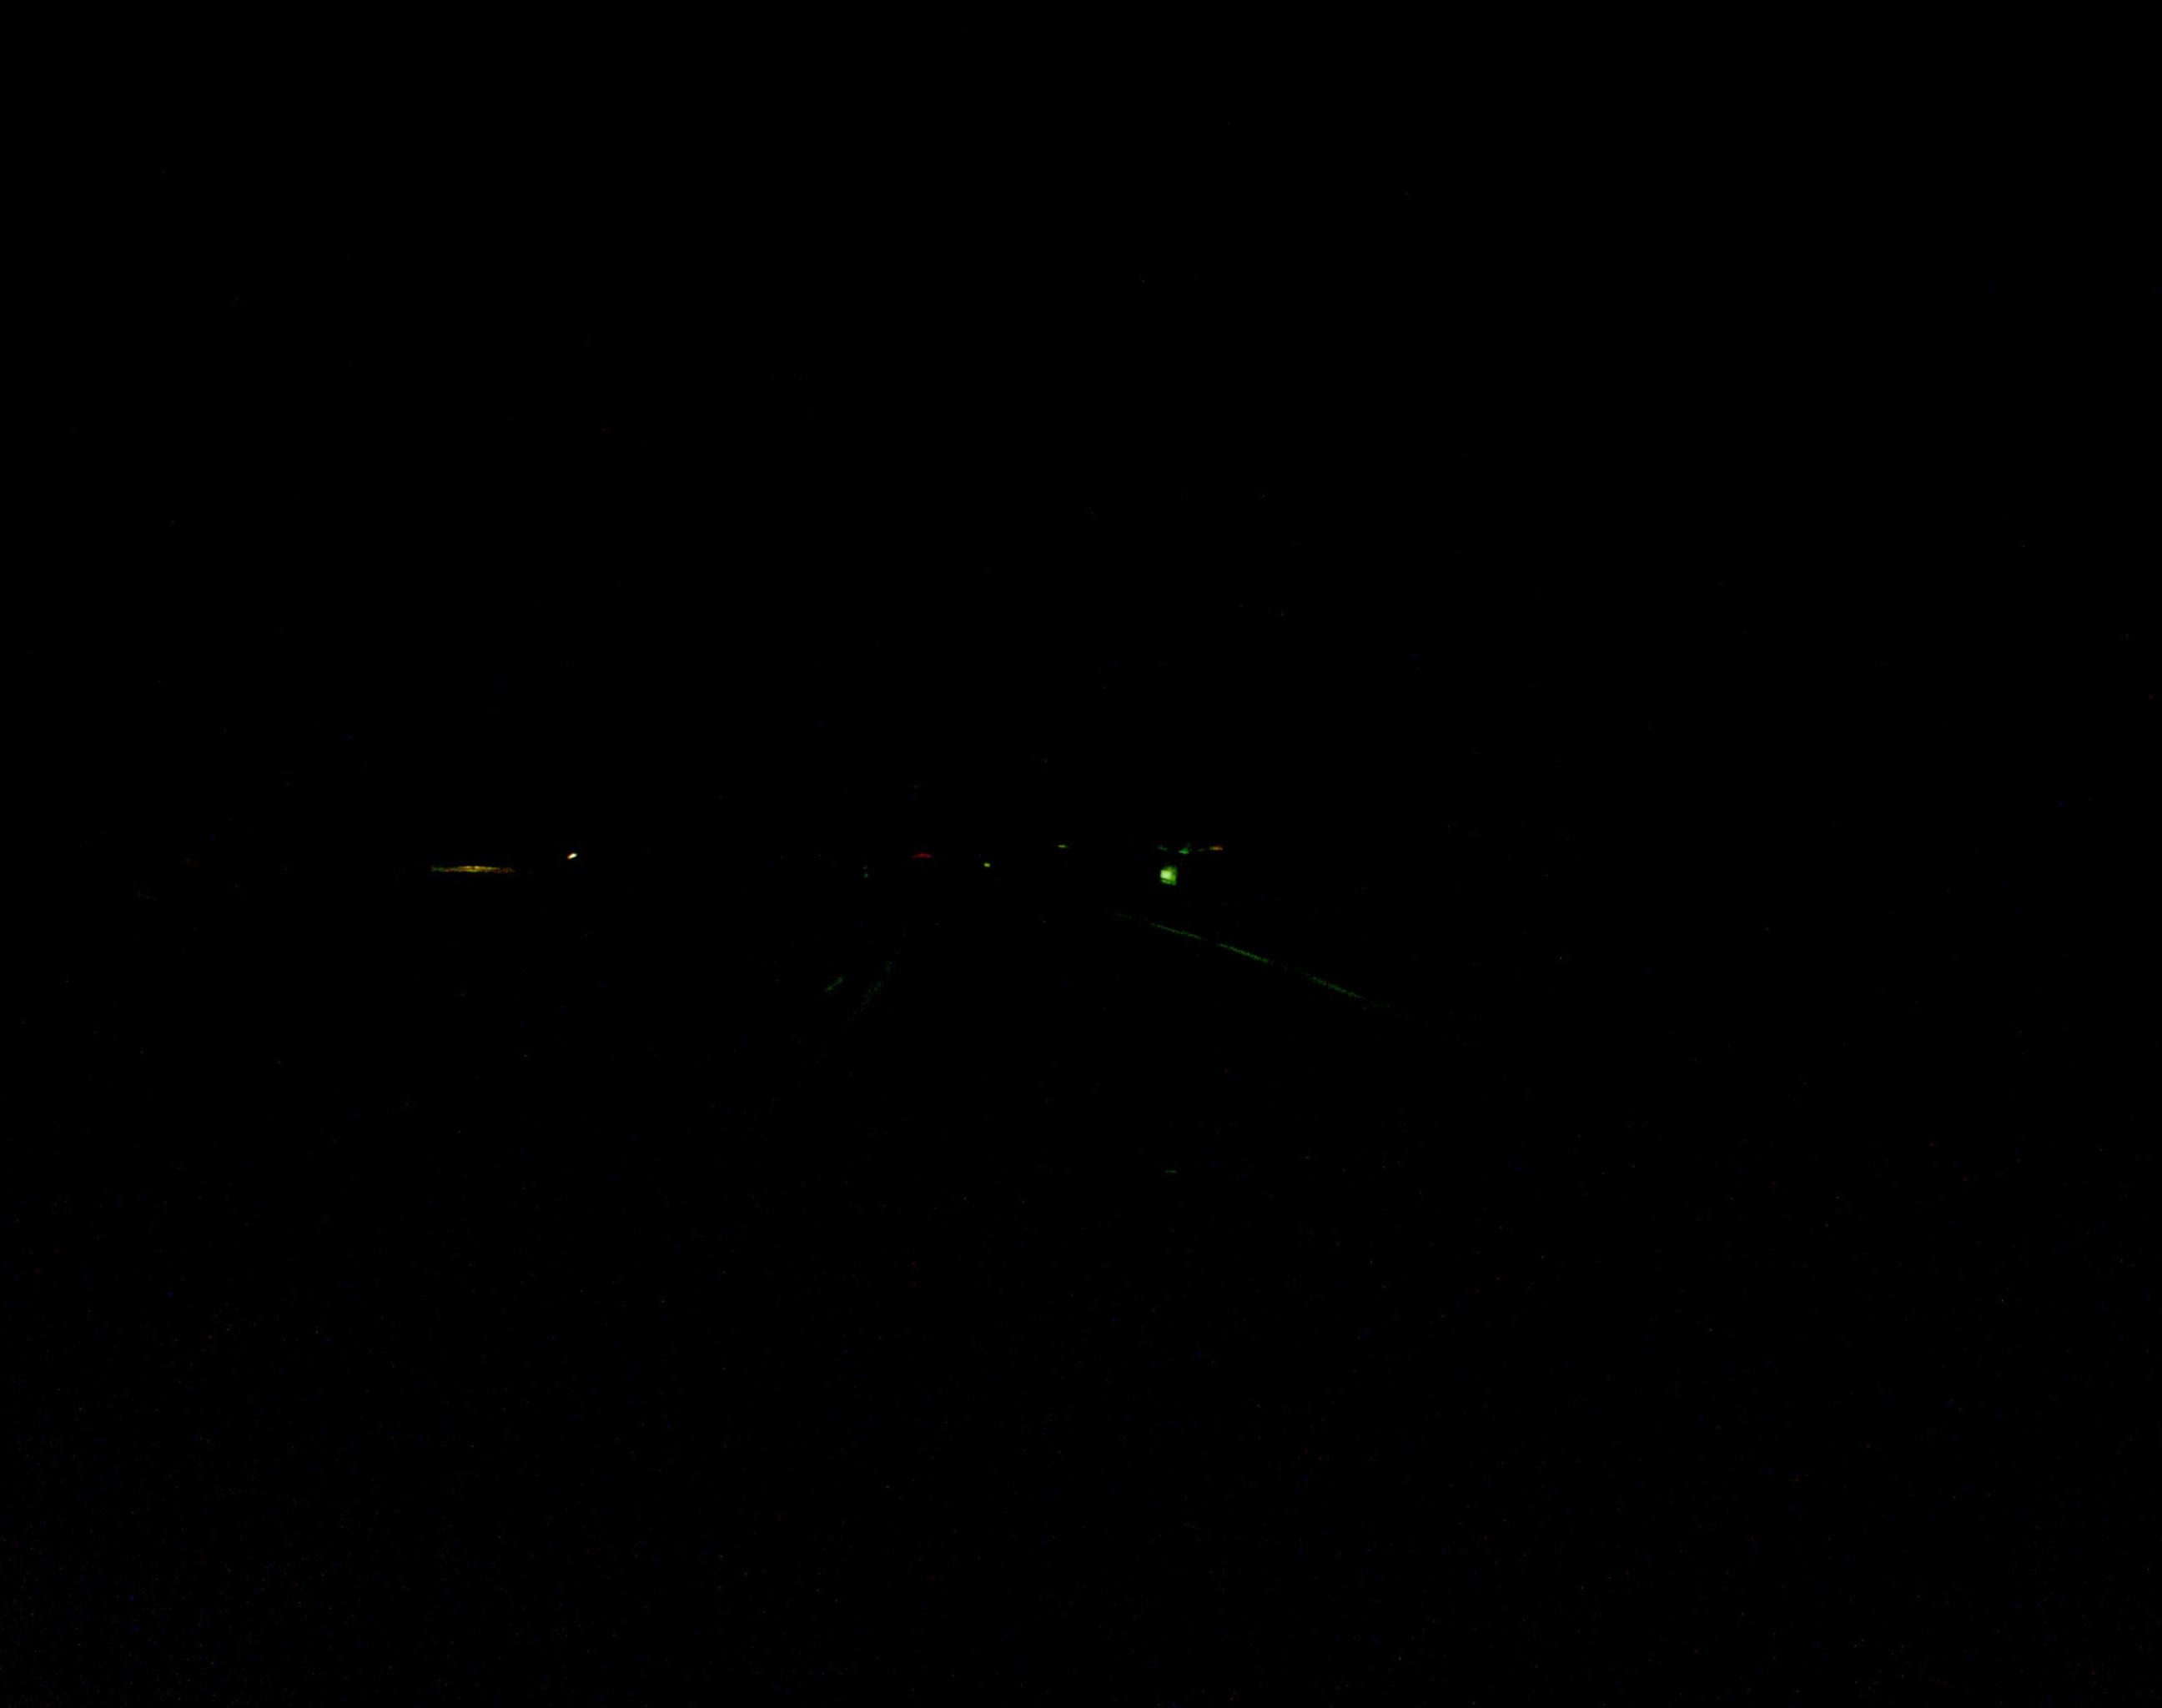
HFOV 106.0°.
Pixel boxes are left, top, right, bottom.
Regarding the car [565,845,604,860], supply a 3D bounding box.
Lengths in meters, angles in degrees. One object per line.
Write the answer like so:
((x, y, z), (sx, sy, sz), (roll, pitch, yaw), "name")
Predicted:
((-72.125, -0.241, 118.344), (1.975, 2.013, 4.497), (2, 1, 27), "car")

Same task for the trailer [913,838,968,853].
((-27.472, -1.652, 160.435), (2.661, 2.699, 12.938), (2, 1, 32), "trailer")

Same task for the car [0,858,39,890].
((-59.136, 1.030, 43.521), (3.992, 1.639, 1.751), (1, 0, -14), "car")
